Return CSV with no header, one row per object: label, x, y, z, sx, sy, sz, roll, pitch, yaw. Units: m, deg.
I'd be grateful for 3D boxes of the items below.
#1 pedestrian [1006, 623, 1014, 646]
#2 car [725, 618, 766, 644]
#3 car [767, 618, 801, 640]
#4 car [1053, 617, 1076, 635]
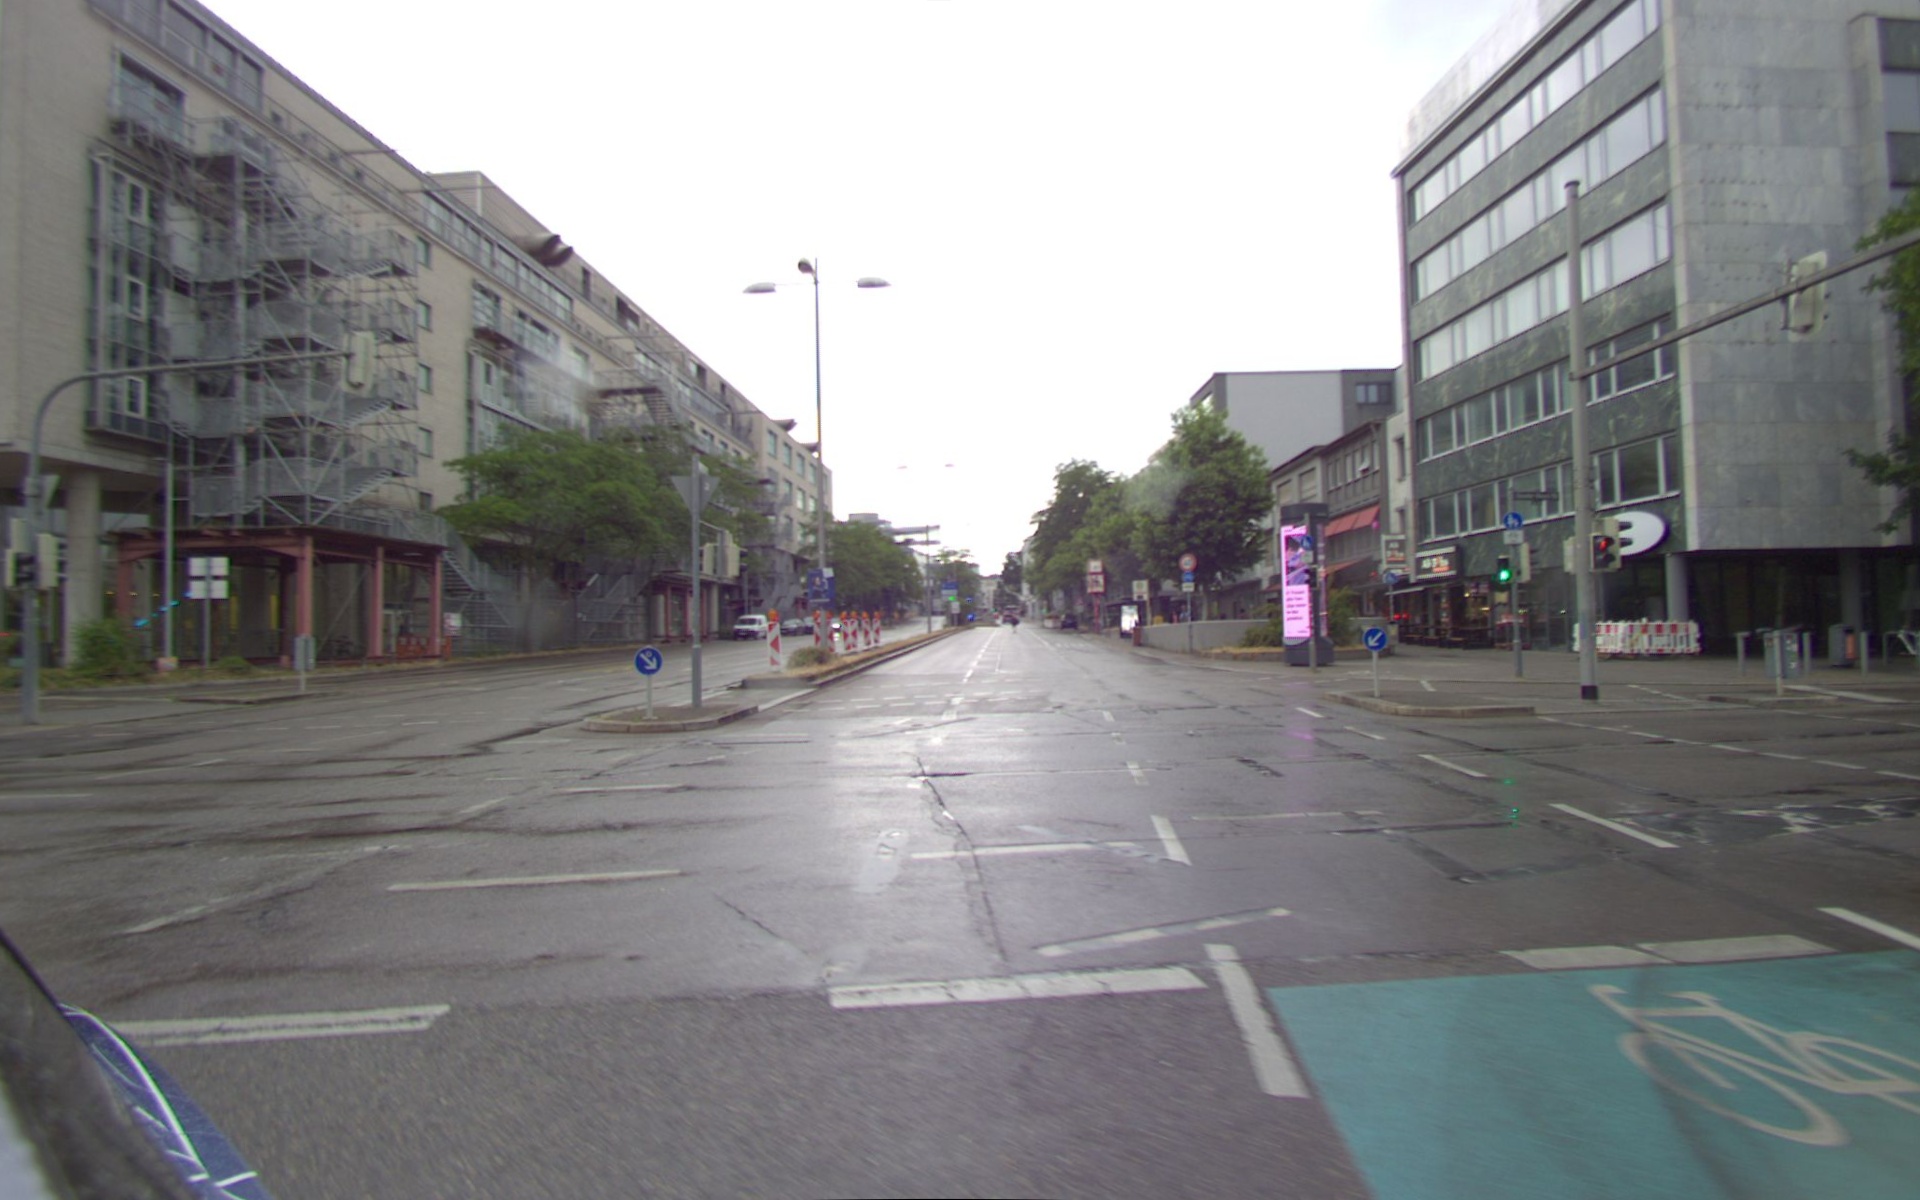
pedestrian,4.493,3.058,90.543,0.609,2.029,0.690,-1,-2,14
car,-15.516,2.230,73.453,1.973,1.807,4.334,-1,-1,1
car,-14.701,2.419,84.740,1.973,1.807,4.334,-1,-1,1
car,10.716,2.623,103.637,1.973,1.763,3.998,-1,-1,1
